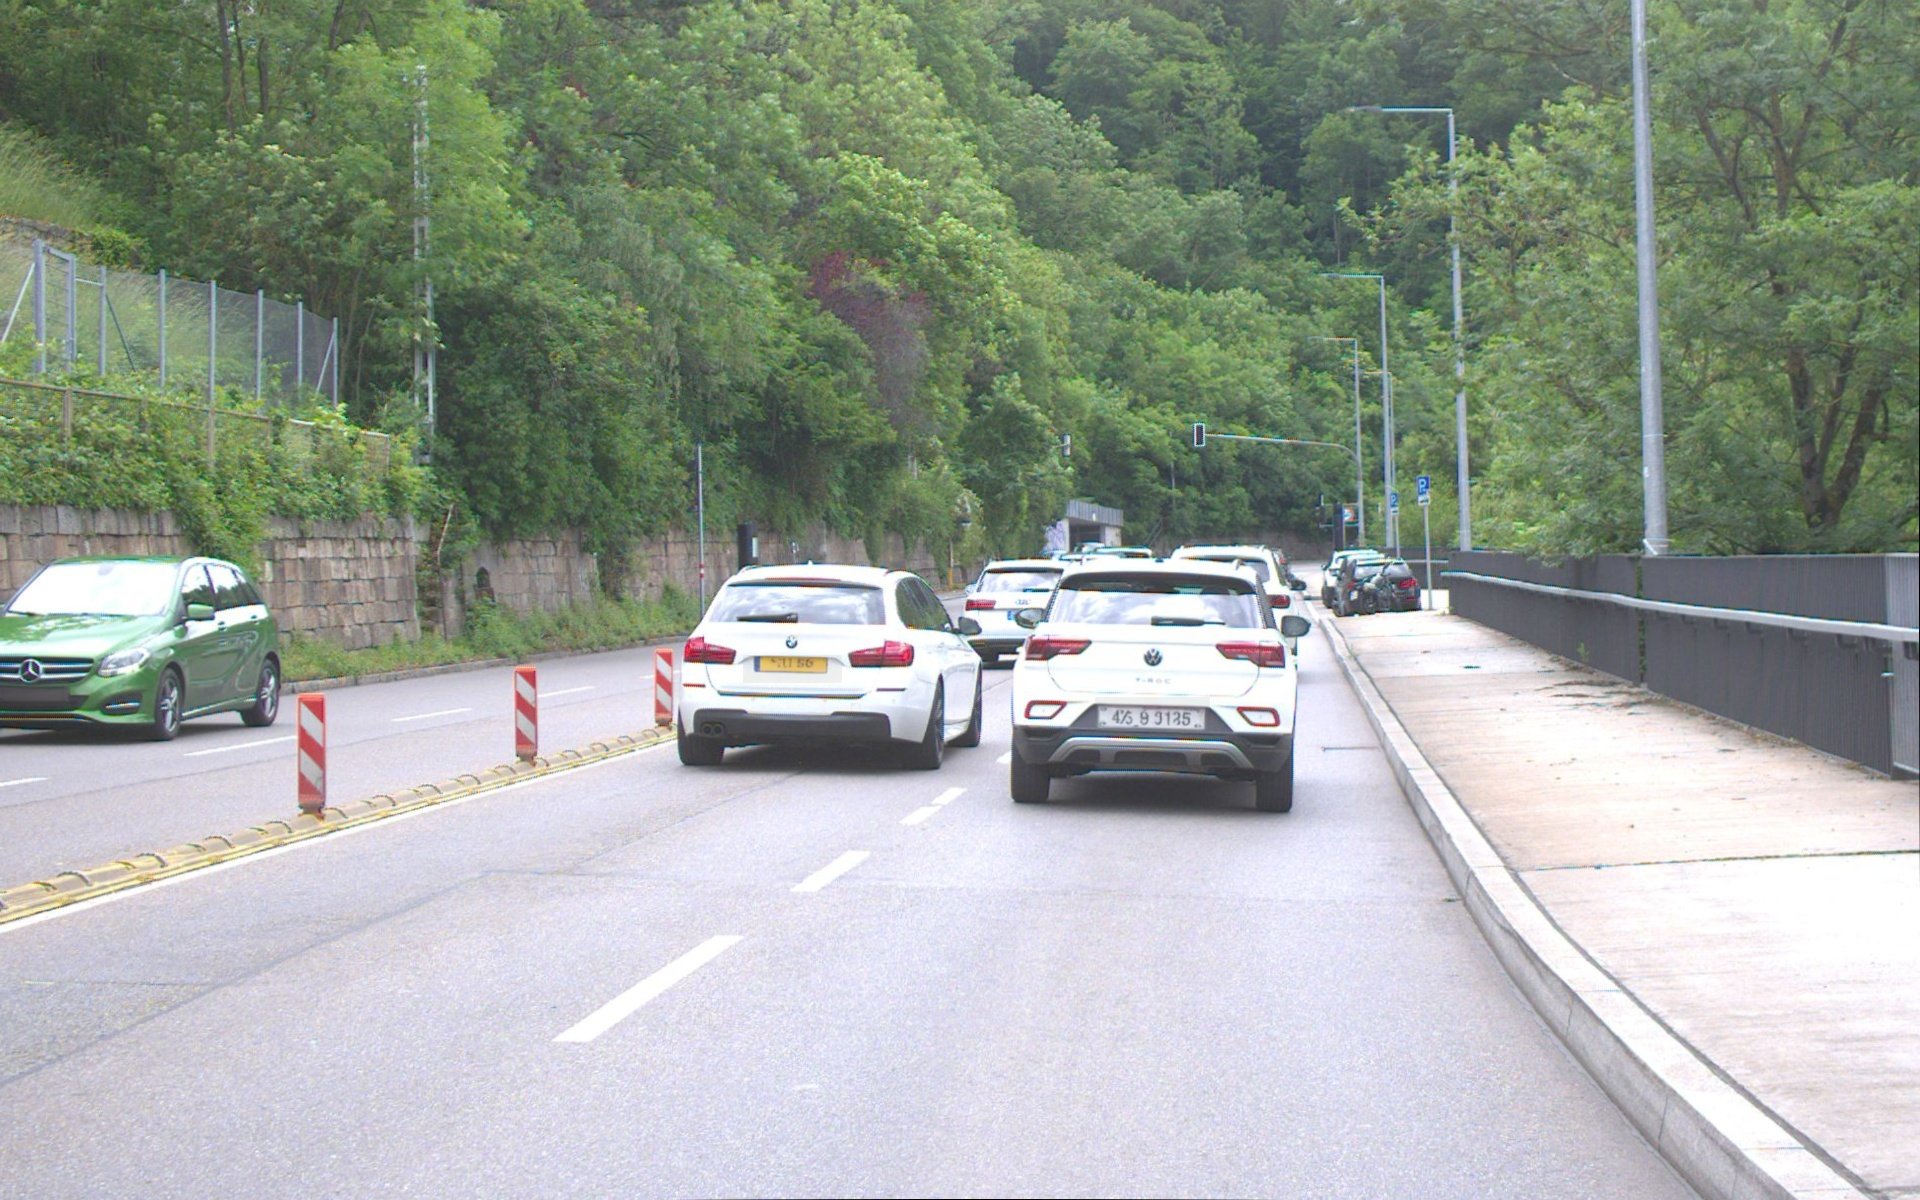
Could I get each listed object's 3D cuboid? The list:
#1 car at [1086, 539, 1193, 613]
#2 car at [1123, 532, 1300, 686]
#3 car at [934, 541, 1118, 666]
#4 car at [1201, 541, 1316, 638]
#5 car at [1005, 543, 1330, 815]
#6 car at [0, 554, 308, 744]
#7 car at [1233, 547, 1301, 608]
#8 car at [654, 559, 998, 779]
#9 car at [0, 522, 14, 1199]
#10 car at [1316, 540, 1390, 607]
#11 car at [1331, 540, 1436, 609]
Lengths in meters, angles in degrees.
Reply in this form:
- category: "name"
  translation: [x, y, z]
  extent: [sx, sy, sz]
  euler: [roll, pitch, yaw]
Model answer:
- category: "car"
  translation: [3.974, -0.542, 75.562]
  extent: [1.994, 1.498, 4.666]
  euler: [0, 2, 7]
- category: "car"
  translation: [3.179, 0.062, 42.811]
  extent: [1.994, 1.712, 4.113]
  euler: [1, 2, 7]
- category: "car"
  translation: [0.960, -0.002, 47.076]
  extent: [1.994, 1.498, 4.666]
  euler: [3, 2, 7]
- category: "car"
  translation: [5.478, -0.194, 63.523]
  extent: [1.994, 1.711, 3.999]
  euler: [1, 0, 4]
- category: "car"
  translation: [1.455, 0.473, 22.641]
  extent: [1.828, 1.600, 3.999]
  euler: [1, 0, 8]
- category: "car"
  translation: [-7.222, 0.364, 29.728]
  extent: [1.851, 1.510, 4.332]
  euler: [0, 1, 7]
- category: "car"
  translation: [9.596, -0.696, 107.717]
  extent: [1.994, 1.853, 3.999]
  euler: [1, 0, 4]
- category: "car"
  translation: [-0.900, 0.445, 25.832]
  extent: [1.828, 1.454, 4.484]
  euler: [2, 1, 7]
- category: "car"
  translation: [-2.853, 0.638, 4.588]
  extent: [1.821, 1.575, 4.356]
  euler: [0, 0, 2]
- category: "car"
  translation: [10.907, -0.768, 95.571]
  extent: [1.994, 1.712, 4.113]
  euler: [1, 2, 6]
- category: "car"
  translation: [9.544, -0.591, 77.742]
  extent: [1.814, 1.503, 4.000]
  euler: [1, 1, -1]
